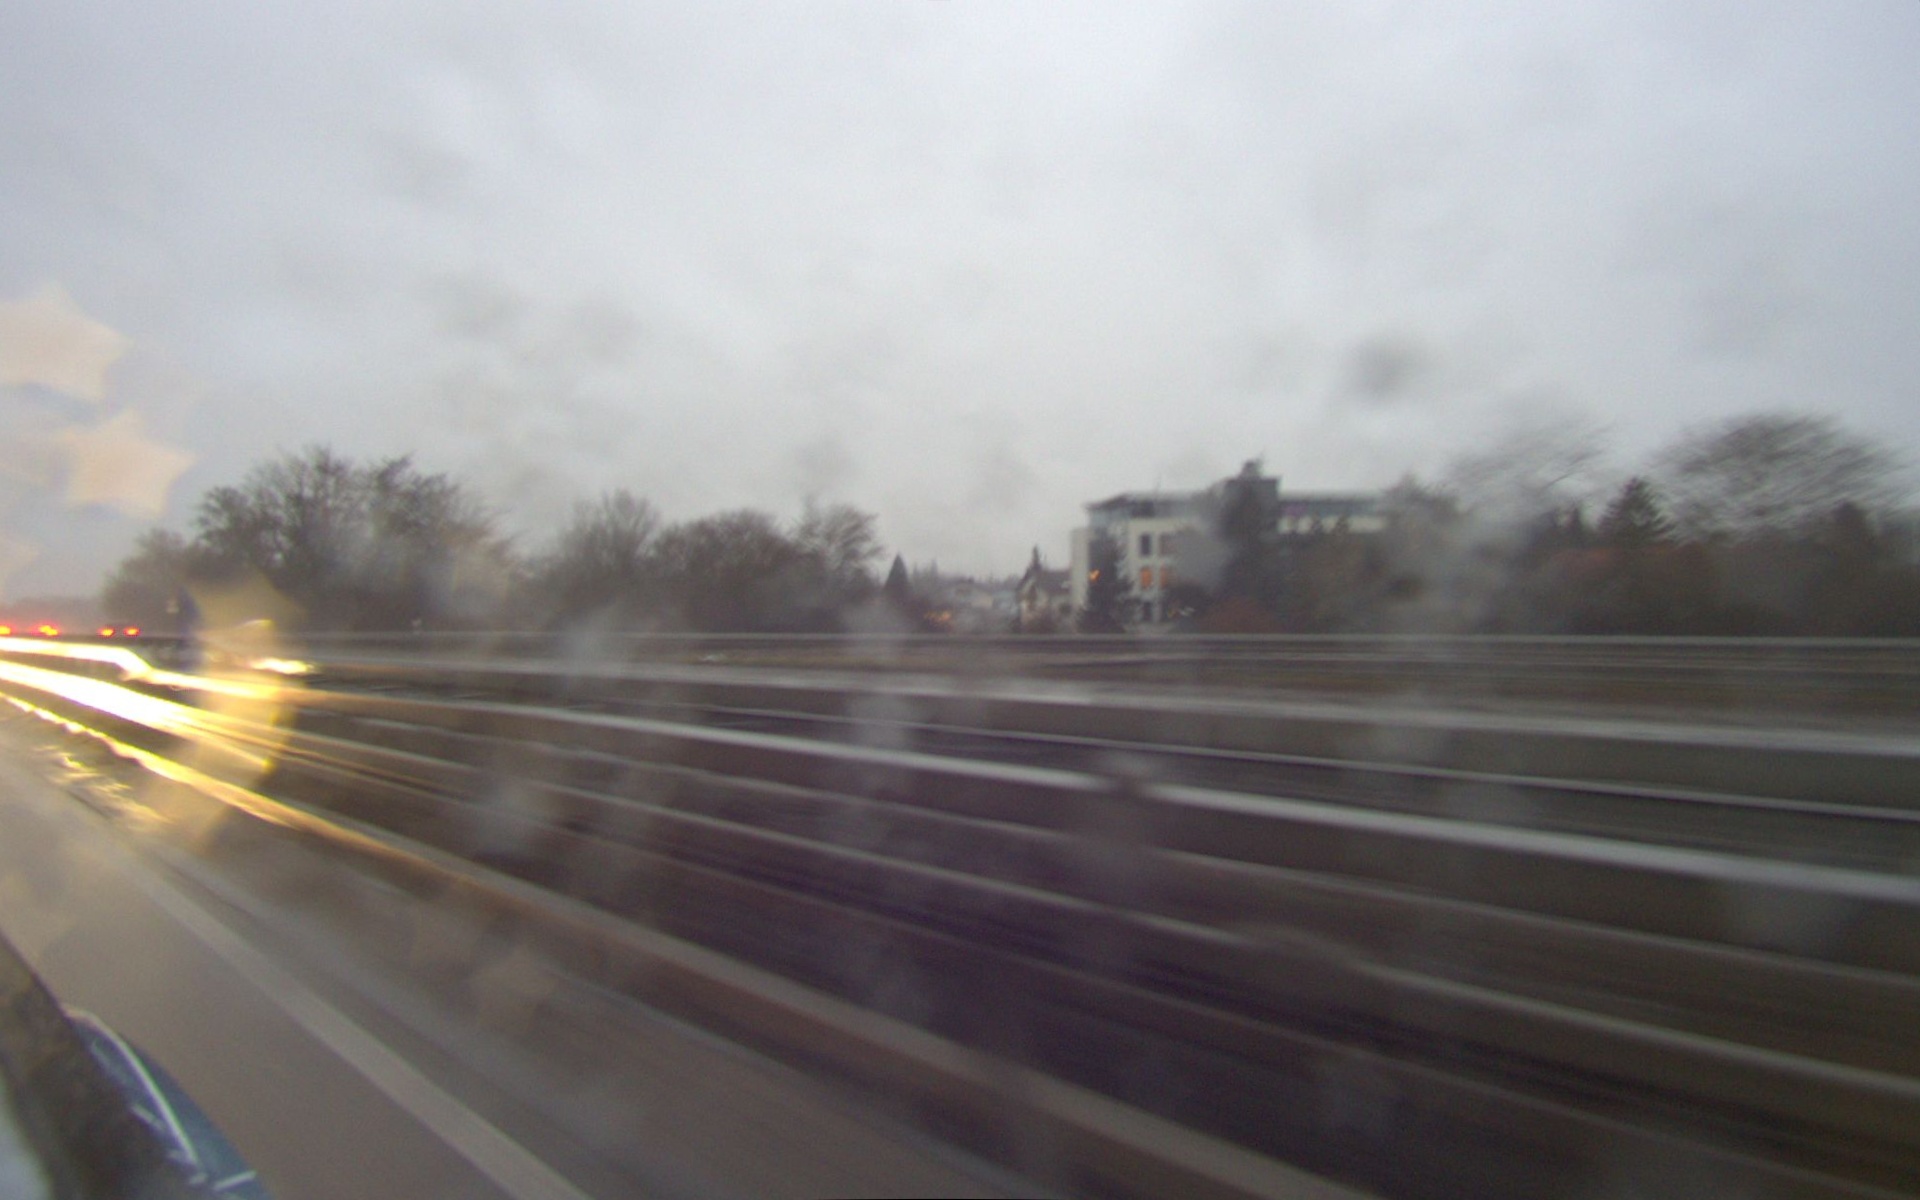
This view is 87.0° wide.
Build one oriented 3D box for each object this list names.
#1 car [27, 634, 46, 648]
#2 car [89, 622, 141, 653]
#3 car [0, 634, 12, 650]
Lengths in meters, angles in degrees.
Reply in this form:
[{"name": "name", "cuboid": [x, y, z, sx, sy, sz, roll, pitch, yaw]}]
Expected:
[{"name": "car", "cuboid": [-124.644, 5.519, 136.559, 1.725, 1.847, 4.137, 2, -2, -45]}, {"name": "car", "cuboid": [-52.533, 2.303, 62.869, 4.703, 1.797, 1.875, -2, 0, 43]}, {"name": "car", "cuboid": [-99.639, 4.370, 105.050, 1.720, 1.652, 4.002, -3, 1, -45]}]
